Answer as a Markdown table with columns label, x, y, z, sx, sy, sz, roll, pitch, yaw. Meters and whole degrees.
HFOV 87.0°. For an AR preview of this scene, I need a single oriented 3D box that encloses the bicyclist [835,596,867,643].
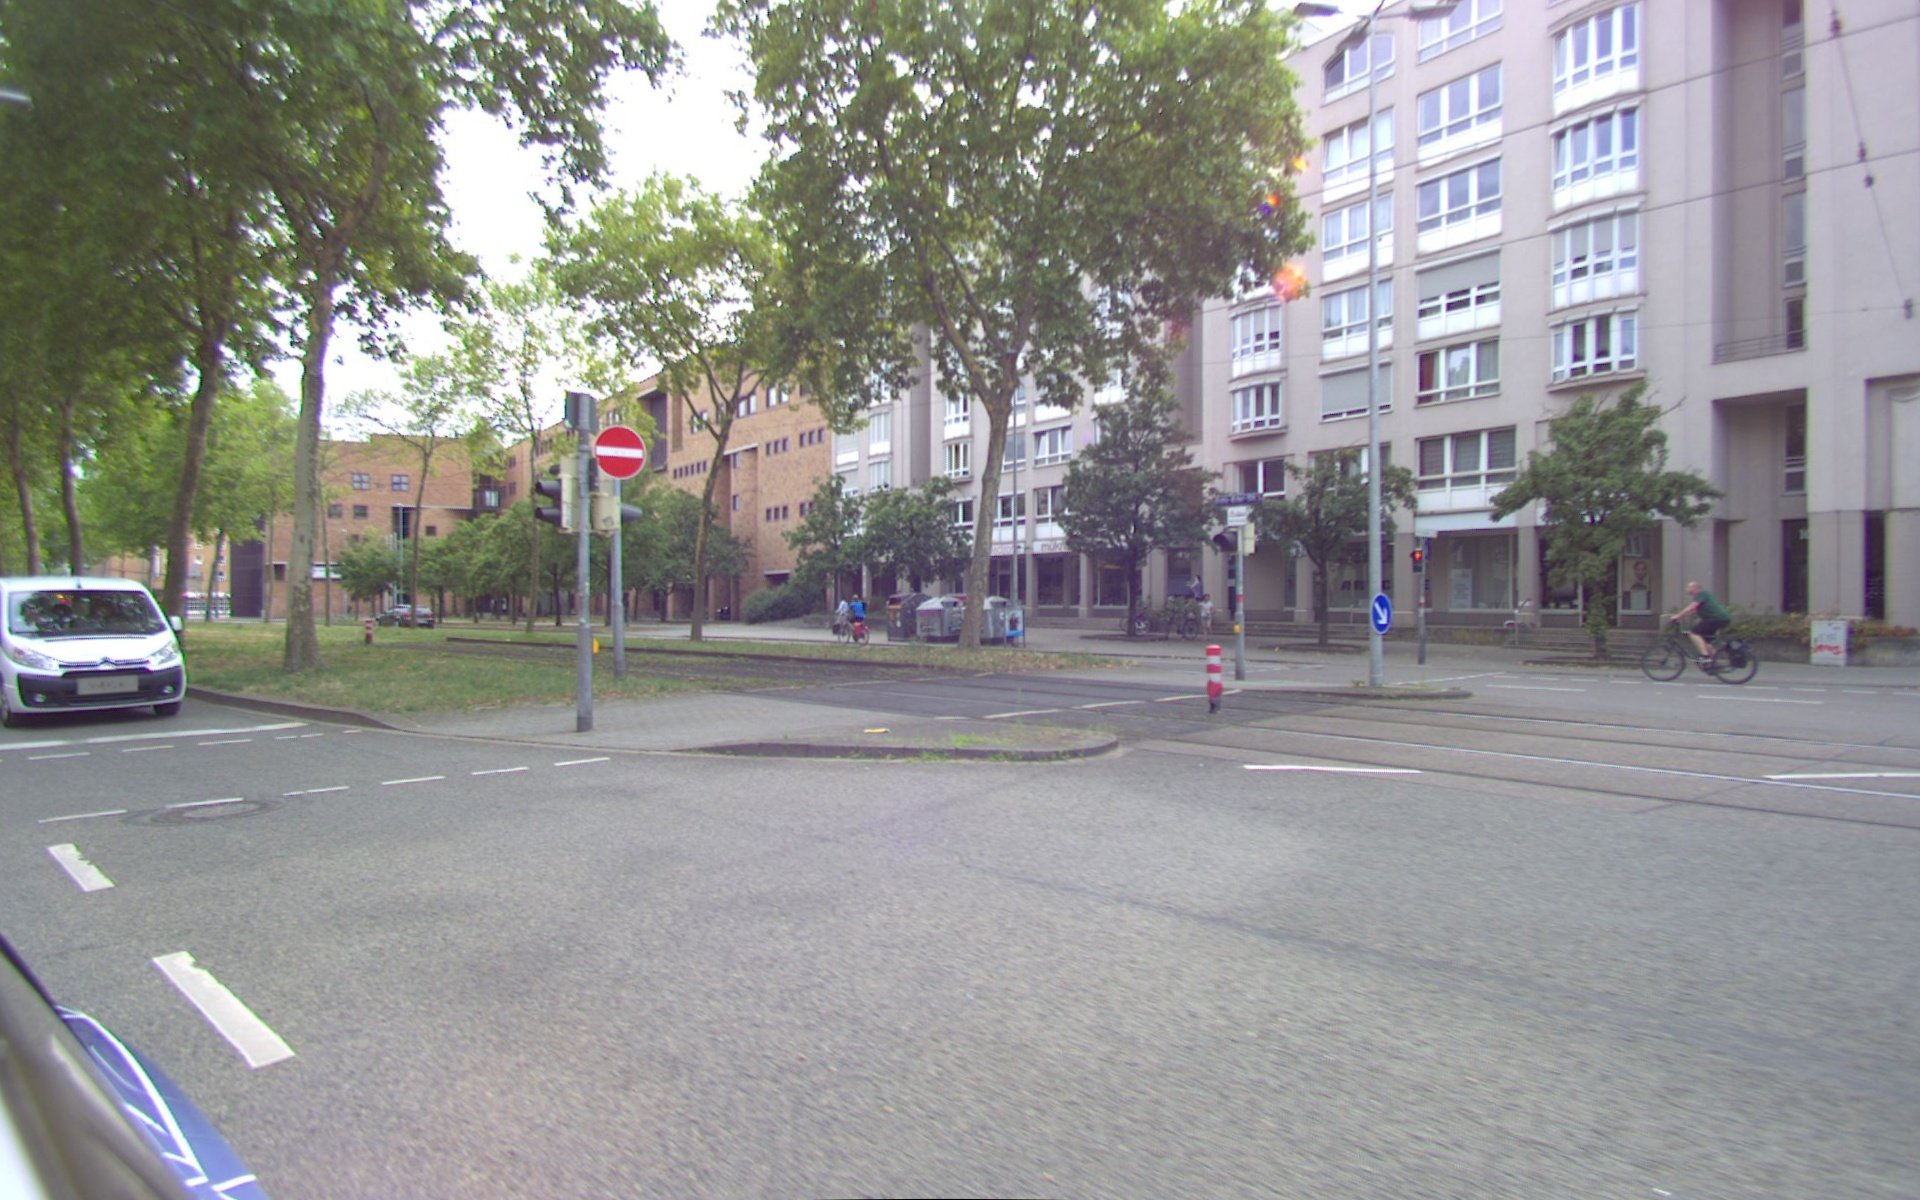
| label | x | y | z | sx | sy | sz | roll | pitch | yaw |
| --- | --- | --- | --- | --- | --- | --- | --- | --- | --- |
| bicyclist | -3.968 | 0.685 | 36.824 | 0.682 | 1.685 | 0.953 | 0 | 0 | -45 |

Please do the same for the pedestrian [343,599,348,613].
| label | x | y | z | sx | sy | sz | roll | pitch | yaw |
| --- | --- | --- | --- | --- | --- | --- | --- | --- | --- |
| pedestrian | -69.047 | 0.686 | 113.729 | 0.500 | 1.543 | 0.521 | 0 | -1 | -34 |

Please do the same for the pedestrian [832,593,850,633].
| label | x | y | z | sx | sy | sz | roll | pitch | yaw |
| --- | --- | --- | --- | --- | --- | --- | --- | --- | --- |
| pedestrian | -5.201 | 0.564 | 44.218 | 0.546 | 1.718 | 0.627 | 0 | -1 | -44 |

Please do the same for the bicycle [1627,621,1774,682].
| label | x | y | z | sx | sy | sz | roll | pitch | yaw |
| --- | --- | --- | --- | --- | --- | --- | --- | --- | --- |
| bicycle | 14.319 | 0.960 | 19.626 | 0.669 | 1.101 | 2.211 | 1 | -1 | -44 |

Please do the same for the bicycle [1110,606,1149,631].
| label | x | y | z | sx | sy | sz | roll | pitch | yaw |
| --- | --- | --- | --- | --- | --- | --- | --- | --- | --- |
| bicycle | 6.640 | 0.713 | 39.667 | 0.433 | 0.950 | 1.635 | 0 | 0 | -41 |

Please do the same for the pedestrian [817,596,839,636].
| label | x | y | z | sx | sy | sz | roll | pitch | yaw |
| --- | --- | --- | --- | --- | --- | --- | --- | --- | --- |
| pedestrian | -5.706 | 0.694 | 43.693 | 0.546 | 1.718 | 0.885 | 0 | -1 | -44 |

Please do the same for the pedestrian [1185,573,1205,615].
| label | x | y | z | sx | sy | sz | roll | pitch | yaw |
| --- | --- | --- | --- | --- | --- | --- | --- | --- | --- |
| pedestrian | 9.128 | -0.247 | 39.314 | 0.563 | 1.618 | 0.549 | 0 | 0 | -40 |

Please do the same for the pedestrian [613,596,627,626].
| label | x | y | z | sx | sy | sz | roll | pitch | yaw |
| --- | --- | --- | --- | --- | --- | --- | --- | --- | --- |
| pedestrian | -19.942 | 0.631 | 59.408 | 0.546 | 1.718 | 0.627 | 0 | -1 | -44 |

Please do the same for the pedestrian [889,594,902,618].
| label | x | y | z | sx | sy | sz | roll | pitch | yaw |
| --- | --- | --- | --- | --- | --- | --- | --- | --- | --- |
| pedestrian | -3.498 | 0.322 | 54.873 | 0.451 | 1.333 | 0.555 | 0 | -1 | -37 |

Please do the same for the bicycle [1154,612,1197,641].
| label | x | y | z | sx | sy | sz | roll | pitch | yaw |
| --- | --- | --- | --- | --- | --- | --- | --- | --- | --- |
| bicycle | 7.279 | 0.888 | 34.165 | 1.606 | 0.950 | 0.441 | 0 | 0 | -37 |

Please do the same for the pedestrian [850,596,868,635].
| label | x | y | z | sx | sy | sz | roll | pitch | yaw |
| --- | --- | --- | --- | --- | --- | --- | --- | --- | --- |
| pedestrian | -4.516 | 0.679 | 45.156 | 0.546 | 1.718 | 0.627 | 0 | 0 | -44 |

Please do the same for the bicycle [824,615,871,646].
| label | x | y | z | sx | sy | sz | roll | pitch | yaw |
| --- | --- | --- | --- | --- | --- | --- | --- | --- | --- |
| bicycle | -4.112 | 1.106 | 36.973 | 0.683 | 1.100 | 1.878 | 0 | 0 | -45 |

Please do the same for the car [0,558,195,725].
| label | x | y | z | sx | sy | sz | roll | pitch | yaw |
| --- | --- | --- | --- | --- | --- | --- | --- | --- | --- |
| car | -12.440 | 0.512 | 14.108 | 4.954 | 1.940 | 1.911 | -1 | -1 | 42 |

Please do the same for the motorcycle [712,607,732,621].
| label | x | y | z | sx | sy | sz | roll | pitch | yaw |
| --- | --- | --- | --- | --- | --- | --- | --- | --- | --- |
| motorcycle | -17.677 | 1.010 | 75.195 | 0.365 | 1.031 | 1.566 | 0 | 0 | 39 |

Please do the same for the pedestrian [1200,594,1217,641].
| label | x | y | z | sx | sy | sz | roll | pitch | yaw |
| --- | --- | --- | --- | --- | --- | --- | --- | --- | --- |
| pedestrian | 8.351 | 0.587 | 33.968 | 0.511 | 1.542 | 0.530 | -1 | 0 | 18 |

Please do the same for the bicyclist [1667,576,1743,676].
| label | x | y | z | sx | sy | sz | roll | pitch | yaw |
| --- | --- | --- | --- | --- | --- | --- | --- | --- | --- |
| bicyclist | 14.391 | 0.496 | 19.551 | 0.659 | 1.862 | 1.082 | 1 | -1 | -44 |

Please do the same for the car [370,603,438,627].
| label | x | y | z | sx | sy | sz | roll | pitch | yaw |
| --- | --- | --- | --- | --- | --- | --- | --- | --- | --- |
| car | -29.745 | 0.787 | 54.082 | 4.532 | 1.254 | 1.711 | 0 | 0 | 41 |

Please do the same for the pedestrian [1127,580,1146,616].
| label | x | y | z | sx | sy | sz | roll | pitch | yaw |
| --- | --- | --- | --- | --- | --- | --- | --- | --- | --- |
| pedestrian | 7.569 | -0.086 | 43.408 | 0.562 | 1.571 | 0.550 | 0 | 0 | -36 |
